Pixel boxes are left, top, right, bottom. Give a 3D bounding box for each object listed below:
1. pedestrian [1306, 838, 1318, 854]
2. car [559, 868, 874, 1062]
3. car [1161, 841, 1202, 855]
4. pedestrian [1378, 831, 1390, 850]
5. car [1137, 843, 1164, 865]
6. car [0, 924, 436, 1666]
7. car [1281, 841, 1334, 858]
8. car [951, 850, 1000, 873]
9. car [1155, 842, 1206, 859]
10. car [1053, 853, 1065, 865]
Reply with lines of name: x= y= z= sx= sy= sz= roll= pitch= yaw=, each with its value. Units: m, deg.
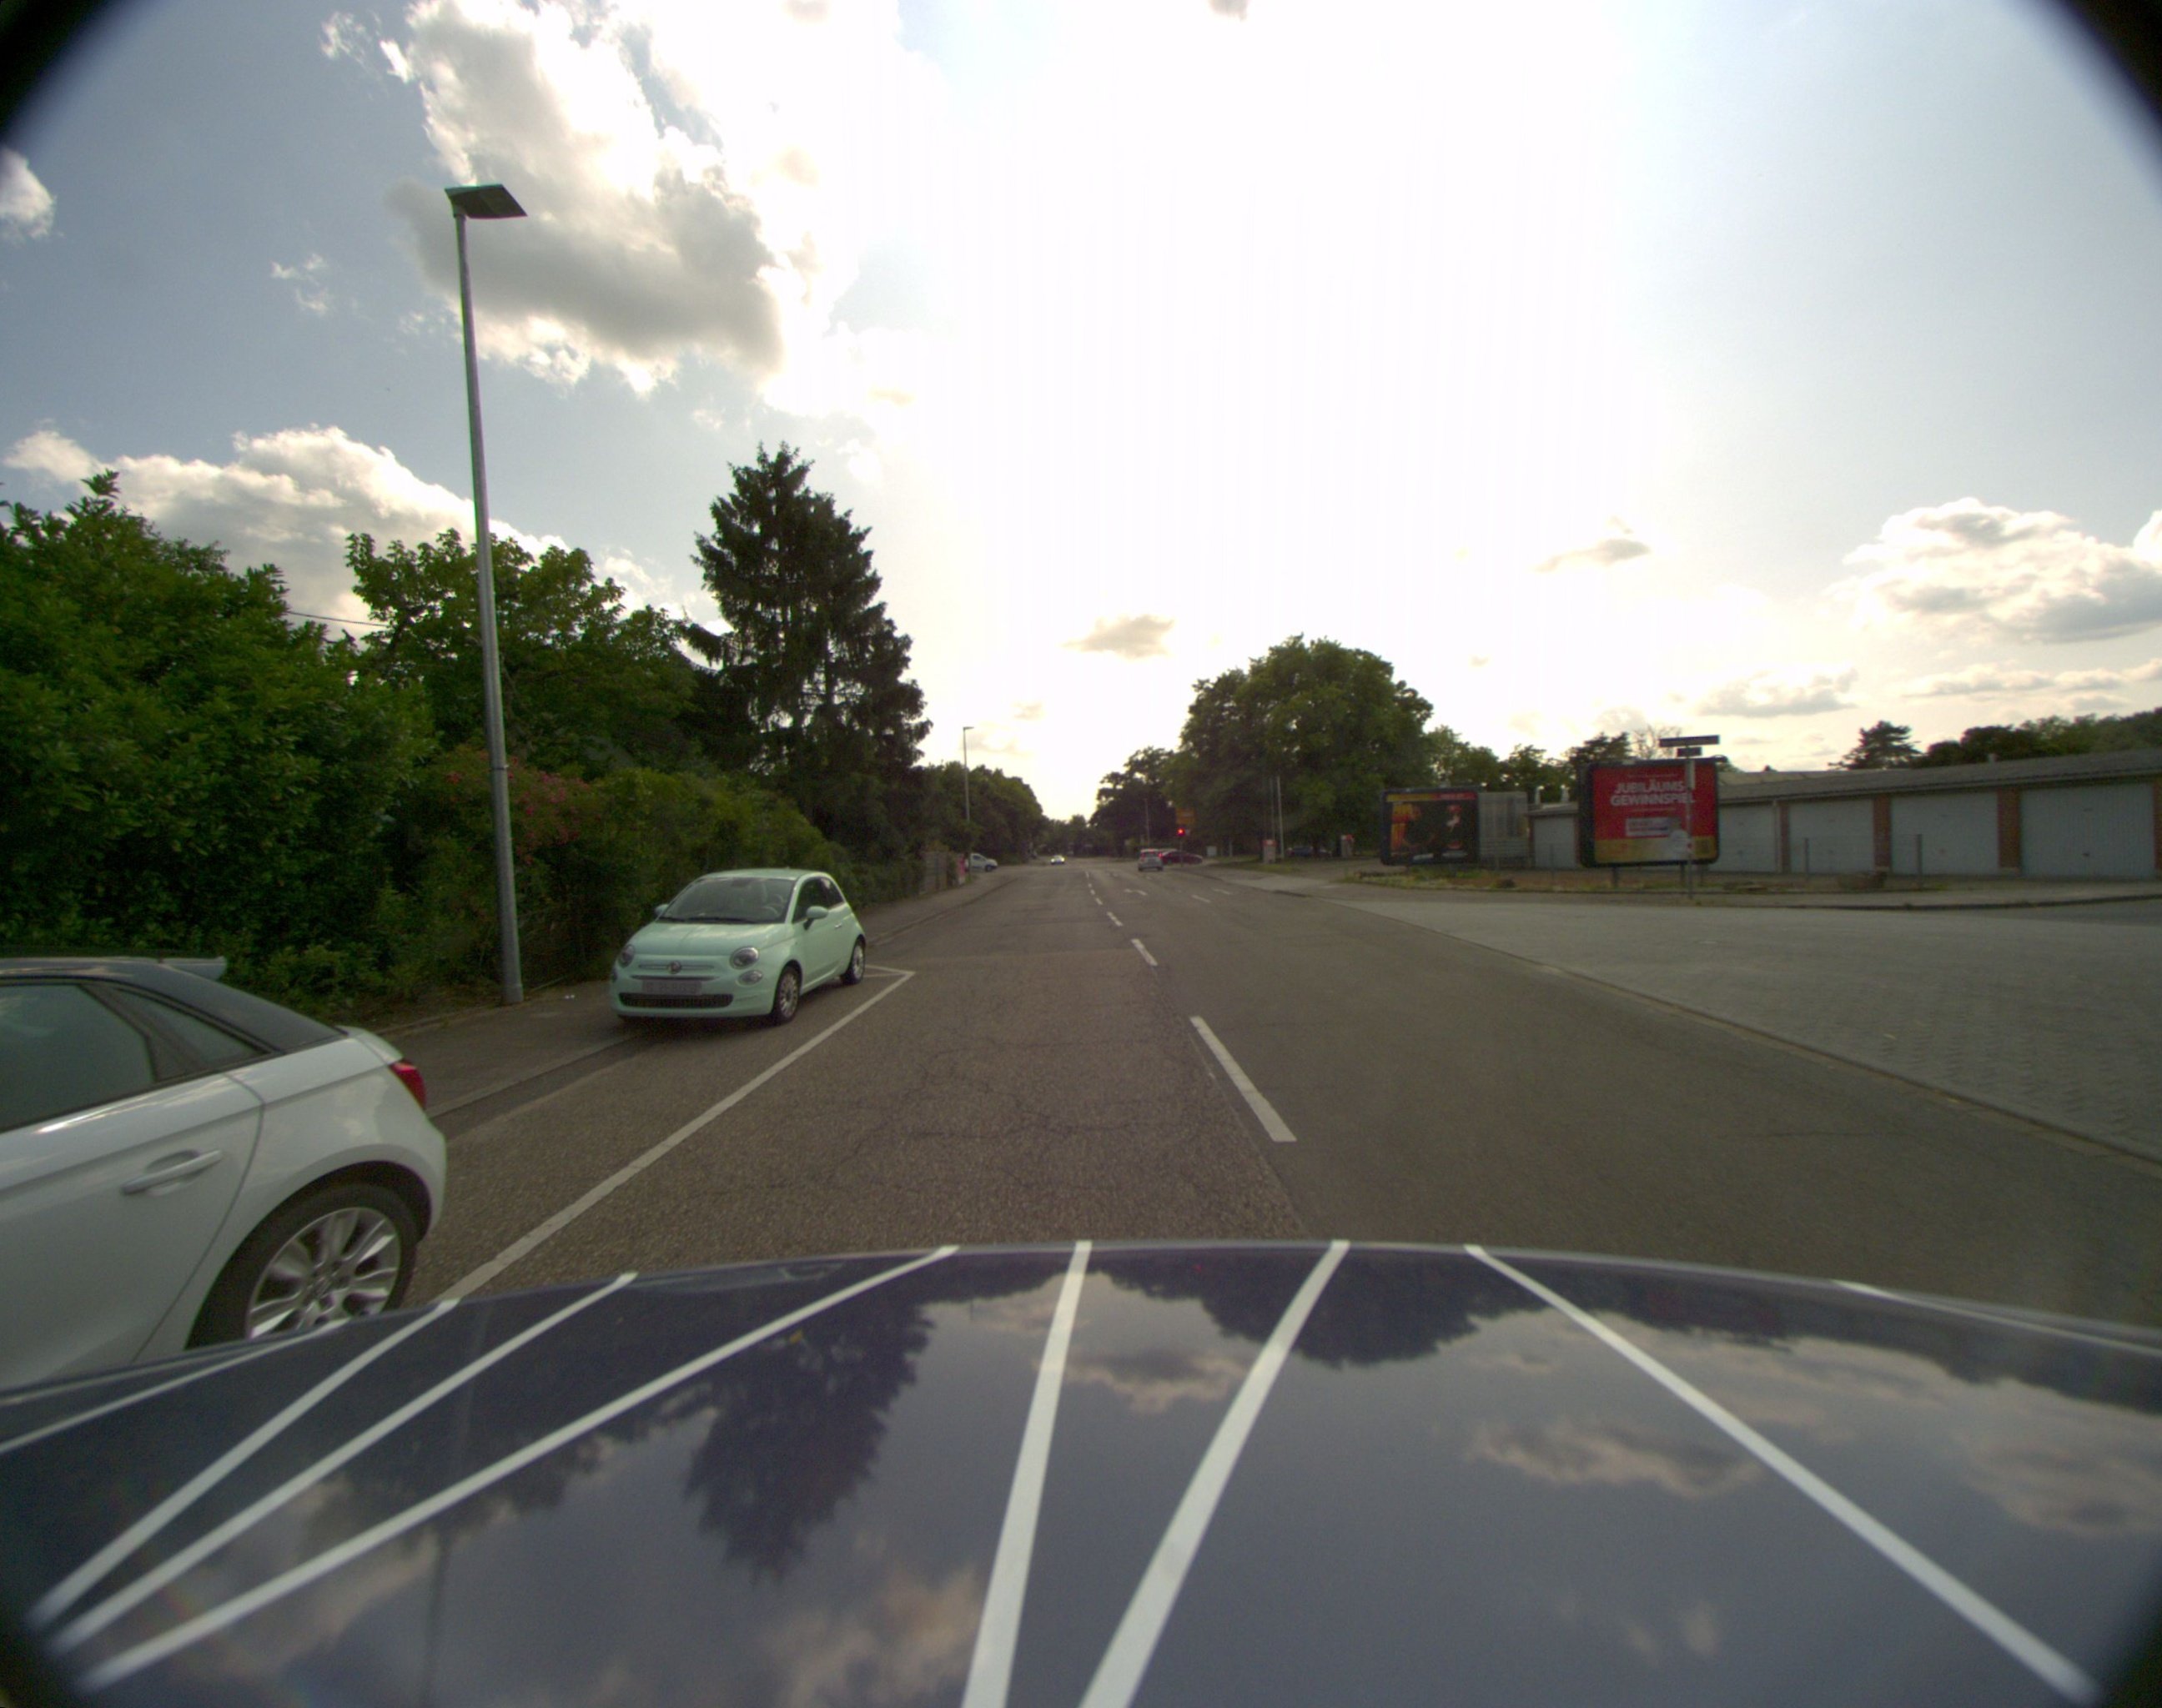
pedestrian: x=22.170 y=-0.753 z=72.779 sx=0.761 sy=1.523 sz=0.726 roll=-3 pitch=1 yaw=-29
car: x=-3.646 y=0.989 z=8.414 sx=1.585 sy=1.511 sz=3.755 roll=-2 pitch=1 yaw=0
car: x=11.992 y=-0.768 z=90.646 sx=4.536 sy=1.454 sz=1.726 roll=-3 pitch=1 yaw=-13
pedestrian: x=20.276 y=-0.925 z=50.848 sx=0.643 sy=1.249 sz=0.767 roll=1 pitch=3 yaw=33
car: x=4.917 y=-0.026 z=54.009 sx=1.558 sy=1.508 sz=3.608 roll=-2 pitch=1 yaw=0
car: x=-3.240 y=1.031 z=0.802 sx=1.725 sy=1.478 sz=3.749 roll=-2 pitch=1 yaw=3
car: x=22.861 y=-0.472 z=76.712 sx=4.874 sy=1.489 sz=1.799 roll=-2 pitch=3 yaw=-13
car: x=-10.153 y=0.695 z=73.110 sx=4.536 sy=1.941 sz=1.727 roll=-3 pitch=1 yaw=-11
car: x=9.625 y=-0.392 z=73.567 sx=4.536 sy=1.454 sz=1.726 roll=-2 pitch=3 yaw=-13
car: x=-3.107 y=0.716 z=106.828 sx=1.730 sy=1.421 sz=3.997 roll=-1 pitch=2 yaw=-2
